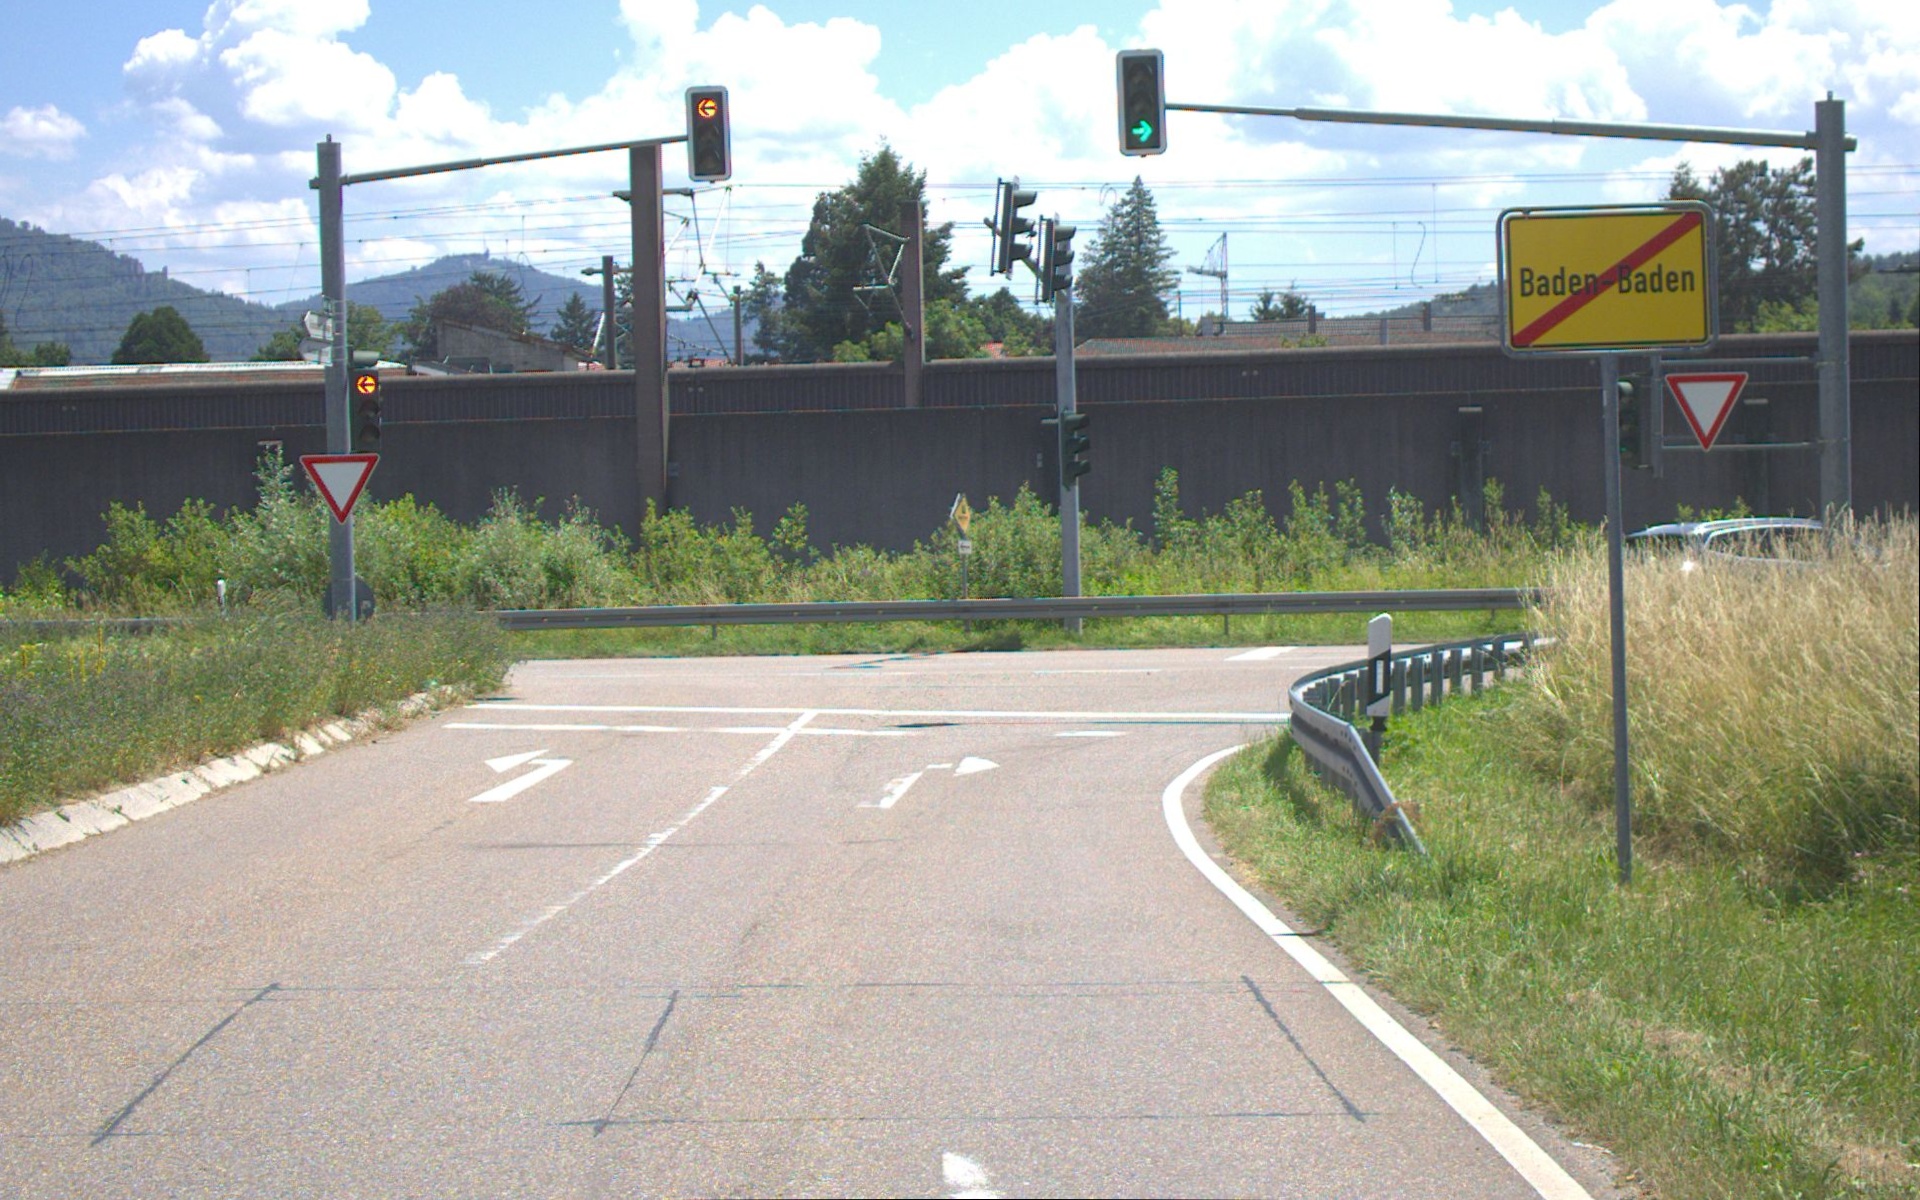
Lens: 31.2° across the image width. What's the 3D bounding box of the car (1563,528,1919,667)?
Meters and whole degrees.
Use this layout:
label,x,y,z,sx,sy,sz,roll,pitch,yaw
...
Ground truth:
label,x,y,z,sx,sy,sz,roll,pitch,yaw
car,9.074,-0.056,39.020,3.986,1.498,2.000,0,1,-27
